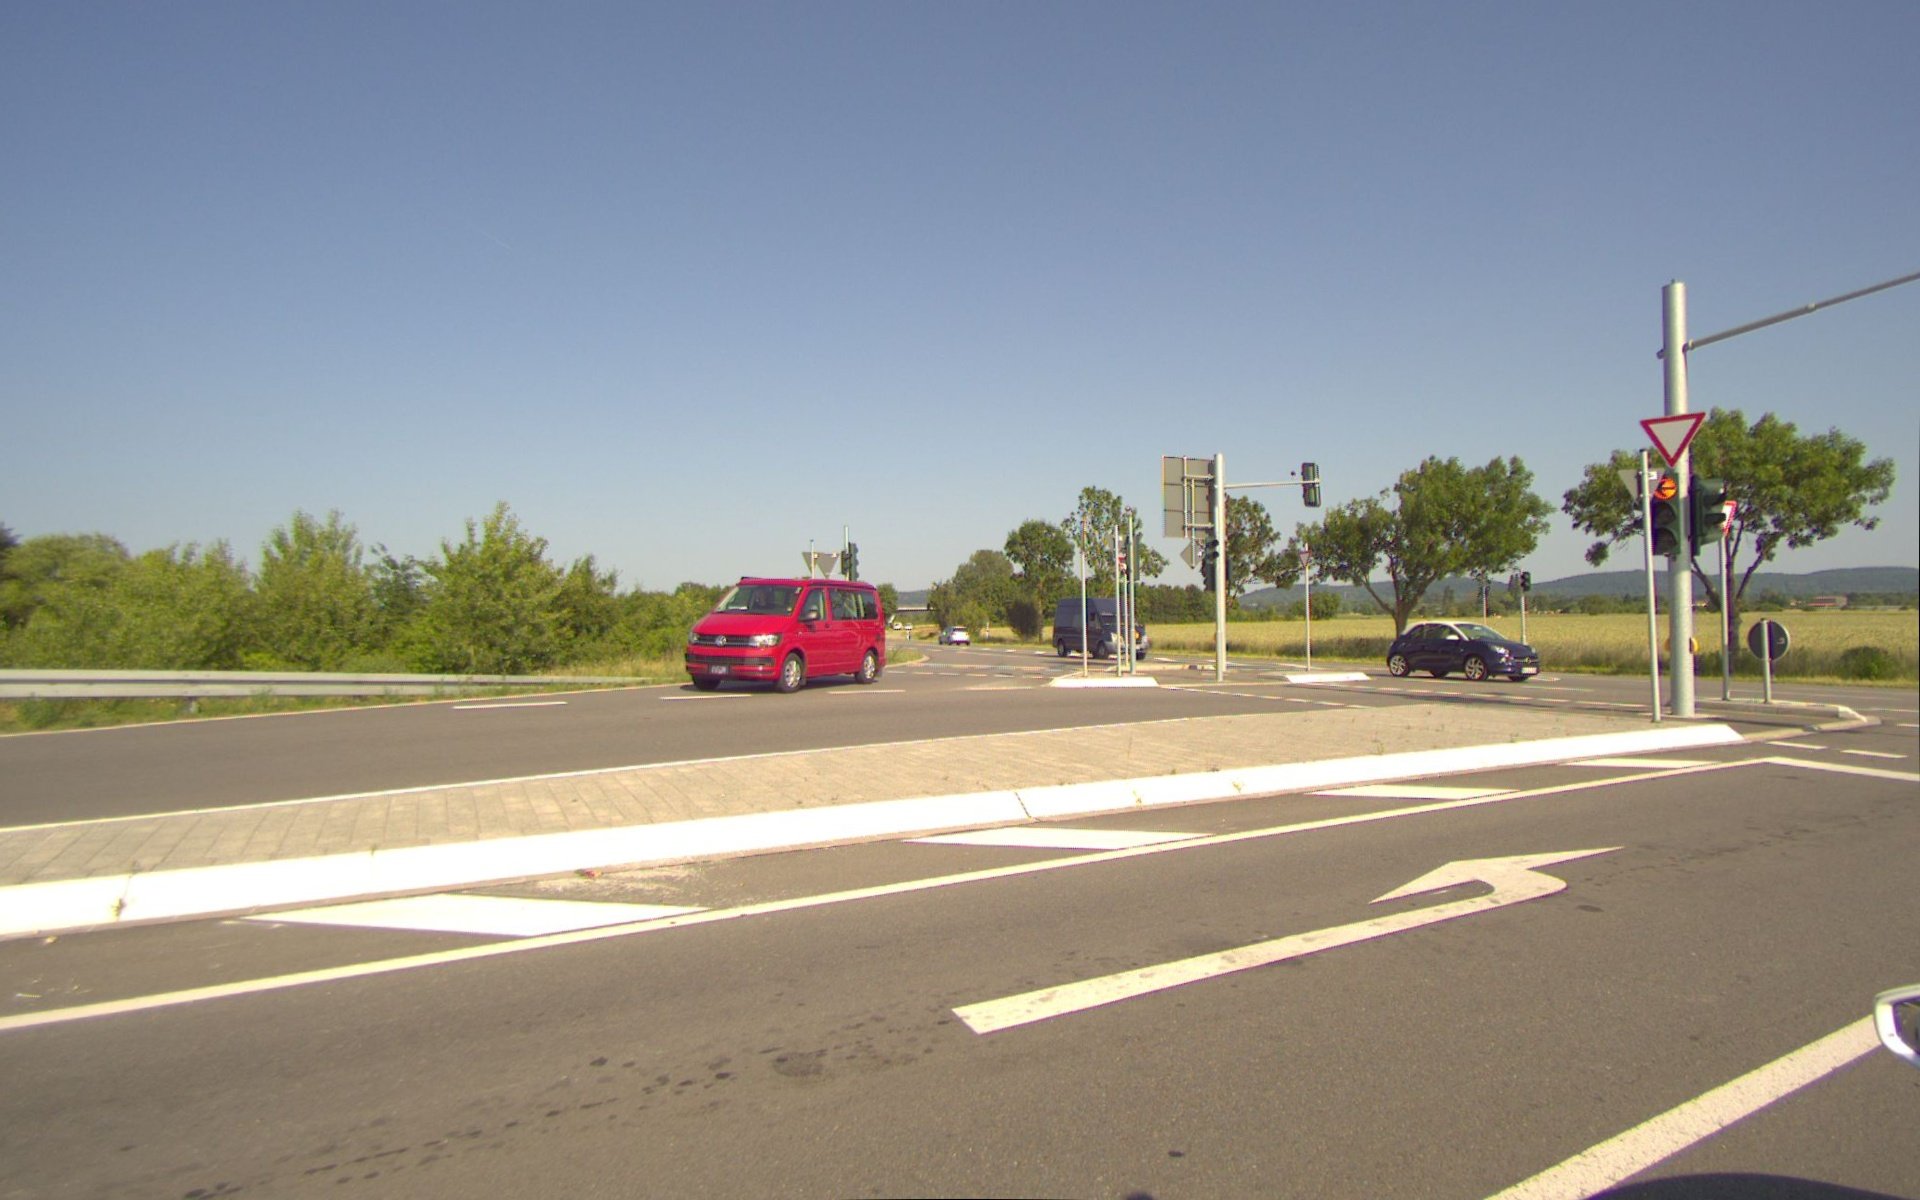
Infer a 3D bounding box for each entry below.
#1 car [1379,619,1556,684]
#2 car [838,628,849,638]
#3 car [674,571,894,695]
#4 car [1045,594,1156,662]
[{"bbox_3d":[12.607,1.250,25.204,1.704,1.476,3.719,-1,-2,-24],"label":"car"},{"bbox_3d":[-21.665,6.059,186.248,1.963,1.746,4.614,1,0,-6],"label":"car"},{"bbox_3d":[-3.022,0.589,18.528,1.803,1.966,4.926,-1,-1,20],"label":"car"},{"bbox_3d":[5.818,1.176,42.444,2.004,2.657,5.719,0,-1,-23],"label":"car"}]
